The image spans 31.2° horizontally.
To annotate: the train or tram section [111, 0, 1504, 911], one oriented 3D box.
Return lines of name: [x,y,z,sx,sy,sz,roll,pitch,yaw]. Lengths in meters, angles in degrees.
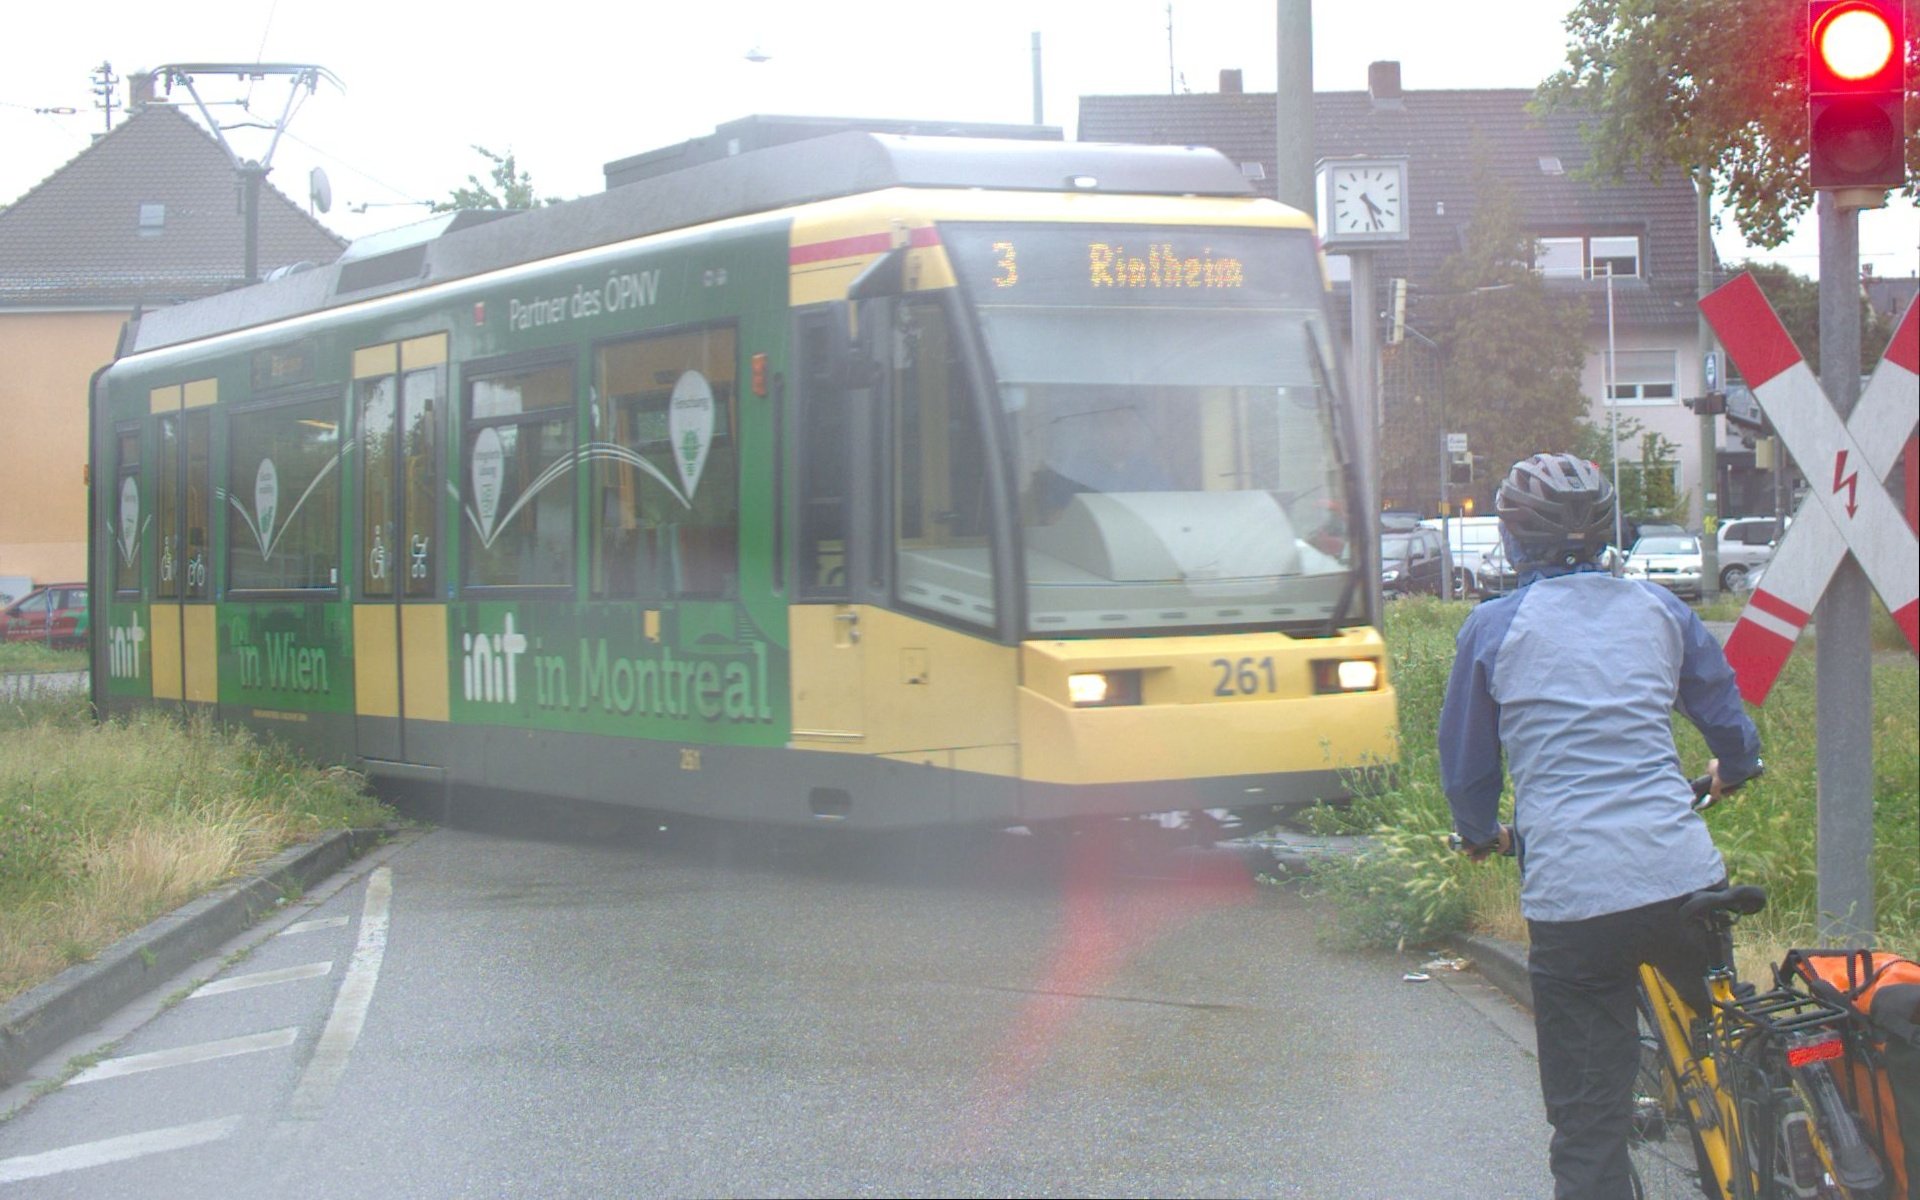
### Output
train or tram section: [-1.812,-0.613,19.339,2.760,3.541,12.205,-1,1,-28]

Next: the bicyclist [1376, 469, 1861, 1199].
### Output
bicyclist: [1.150,0.593,6.169,0.667,1.620,0.853,1,0,-2]

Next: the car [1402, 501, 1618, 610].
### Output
car: [12.173,-0.983,76.237,4.395,2.317,2.000,1,0,-2]

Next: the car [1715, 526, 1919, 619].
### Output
car: [16.358,-0.516,65.108,3.684,1.695,1.890,1,0,0]

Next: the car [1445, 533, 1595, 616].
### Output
car: [11.524,-0.515,70.579,1.996,1.634,3.995,1,0,25]

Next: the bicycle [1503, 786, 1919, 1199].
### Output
bicycle: [1.348,0.899,6.074,0.446,1.001,1.728,-1,1,-2]

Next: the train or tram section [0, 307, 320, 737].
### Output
train or tram section: [-8.005,-0.726,35.143,2.760,3.541,13.136,-1,1,-11]

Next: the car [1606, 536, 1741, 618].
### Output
car: [14.754,-0.473,70.969,1.843,1.634,3.995,1,0,25]

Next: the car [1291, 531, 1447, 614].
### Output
car: [8.406,-0.557,70.359,1.996,1.634,3.995,1,0,25]

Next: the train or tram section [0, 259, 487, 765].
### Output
train or tram section: [-5.880,-0.654,26.892,2.760,3.541,4.989,-1,1,-27]

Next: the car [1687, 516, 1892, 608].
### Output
car: [18.377,-0.840,76.275,3.986,1.944,2.000,1,0,-2]

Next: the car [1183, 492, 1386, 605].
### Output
car: [7.552,-1.196,79.802,4.398,2.557,1.999,1,0,14]

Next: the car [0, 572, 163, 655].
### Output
car: [-16.663,0.223,62.601,3.986,1.451,1.834,1,0,-6]
